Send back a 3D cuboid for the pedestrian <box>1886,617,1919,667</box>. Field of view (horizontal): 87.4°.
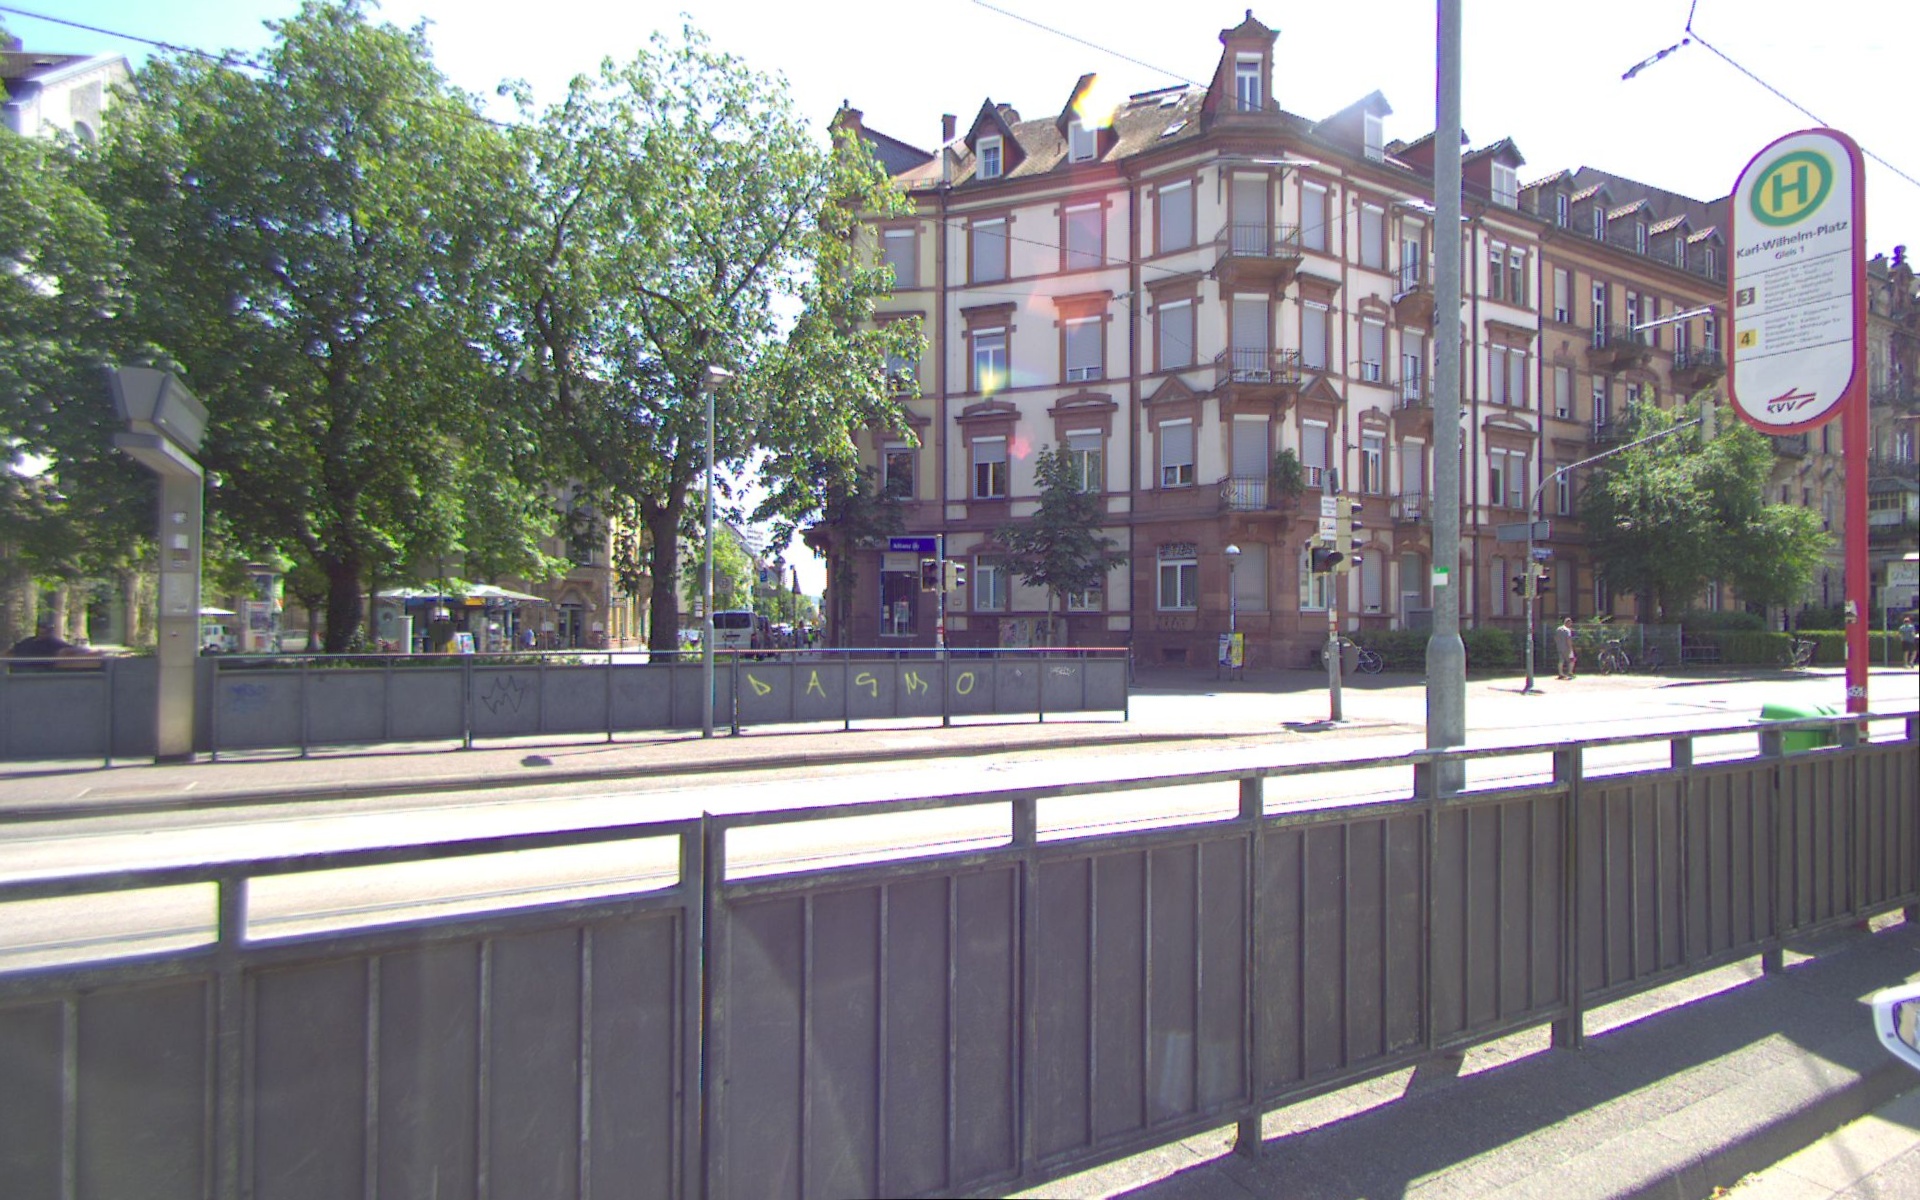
[{"bbox_3d":[35.891,1.579,38.191,0.869,1.881,0.809,1,-1,-35],"label":"pedestrian"}]

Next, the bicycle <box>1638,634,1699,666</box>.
[{"bbox_3d":[23.735,1.659,33.678,0.489,1.009,1.640,1,-2,-27],"label":"bicycle"}]

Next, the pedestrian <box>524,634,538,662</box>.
[{"bbox_3d":[-24.329,2.709,57.006,0.539,1.577,0.501,0,-1,16],"label":"pedestrian"}]

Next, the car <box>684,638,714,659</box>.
[{"bbox_3d":[-21.301,3.939,82.221,1.964,1.584,4.582,0,-2,-9],"label":"car"}]

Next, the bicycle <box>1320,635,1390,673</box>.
[{"bbox_3d":[11.698,1.593,29.771,1.885,1.122,0.467,0,-1,9],"label":"bicycle"}]

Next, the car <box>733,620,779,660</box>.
[{"bbox_3d":[-9.810,1.888,48.535,1.964,1.833,4.582,0,-1,-9],"label":"car"}]

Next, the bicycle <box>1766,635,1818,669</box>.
[{"bbox_3d":[28.622,1.774,34.557,1.906,1.108,0.636,1,1,-26],"label":"bicycle"}]

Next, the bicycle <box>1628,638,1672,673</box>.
[{"bbox_3d":[21.698,1.723,31.580,1.544,1.070,0.458,1,-1,-26],"label":"bicycle"}]

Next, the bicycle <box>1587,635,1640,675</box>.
[{"bbox_3d":[19.858,1.658,30.507,1.693,1.184,0.571,1,-1,-26],"label":"bicycle"}]

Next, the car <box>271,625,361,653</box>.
[{"bbox_3d":[-36.635,2.215,57.226,3.928,1.520,1.691,0,-1,-10],"label":"car"}]

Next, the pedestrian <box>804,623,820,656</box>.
[{"bbox_3d":[-7.277,1.923,49.275,0.729,1.625,0.761,0,-1,-5],"label":"pedestrian"}]

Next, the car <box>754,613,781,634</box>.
[{"bbox_3d":[-14.932,1.814,78.121,1.964,1.584,4.582,0,-2,-9],"label":"car"}]

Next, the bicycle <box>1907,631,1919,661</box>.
[{"bbox_3d":[41.152,1.975,42.240,0.562,1.244,1.860,1,0,-31],"label":"bicycle"}]

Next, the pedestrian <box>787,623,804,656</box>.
[{"bbox_3d":[-8.062,1.926,49.246,0.729,1.625,0.761,0,-1,-5],"label":"pedestrian"}]

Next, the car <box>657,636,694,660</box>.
[{"bbox_3d":[-20.217,3.376,71.530,1.964,1.584,4.582,0,-2,-9],"label":"car"}]

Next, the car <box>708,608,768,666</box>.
[{"bbox_3d":[-8.463,1.394,38.630,1.964,2.094,4.582,0,-1,-9],"label":"car"}]

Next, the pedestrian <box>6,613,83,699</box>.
[{"bbox_3d":[-14.633,0.880,16.083,0.643,1.334,0.819,1,-1,-23],"label":"pedestrian"}]

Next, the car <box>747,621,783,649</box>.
[{"bbox_3d":[-11.533,2.067,59.580,1.964,1.584,4.582,0,-2,-9],"label":"car"}]

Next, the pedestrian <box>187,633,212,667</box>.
[{"bbox_3d":[-31.050,2.050,41.028,0.594,1.367,0.700,0,-2,-18],"label":"pedestrian"}]

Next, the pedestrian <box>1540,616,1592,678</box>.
[{"bbox_3d":[17.373,1.340,28.804,0.999,1.723,0.870,1,-1,-23],"label":"pedestrian"}]

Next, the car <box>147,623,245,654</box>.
[{"bbox_3d":[-42.862,2.156,56.443,3.928,1.720,1.808,0,-1,-10],"label":"car"}]

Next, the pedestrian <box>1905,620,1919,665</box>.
[{"bbox_3d":[36.862,1.626,38.312,0.807,1.723,0.912,0,-1,9],"label":"pedestrian"}]
